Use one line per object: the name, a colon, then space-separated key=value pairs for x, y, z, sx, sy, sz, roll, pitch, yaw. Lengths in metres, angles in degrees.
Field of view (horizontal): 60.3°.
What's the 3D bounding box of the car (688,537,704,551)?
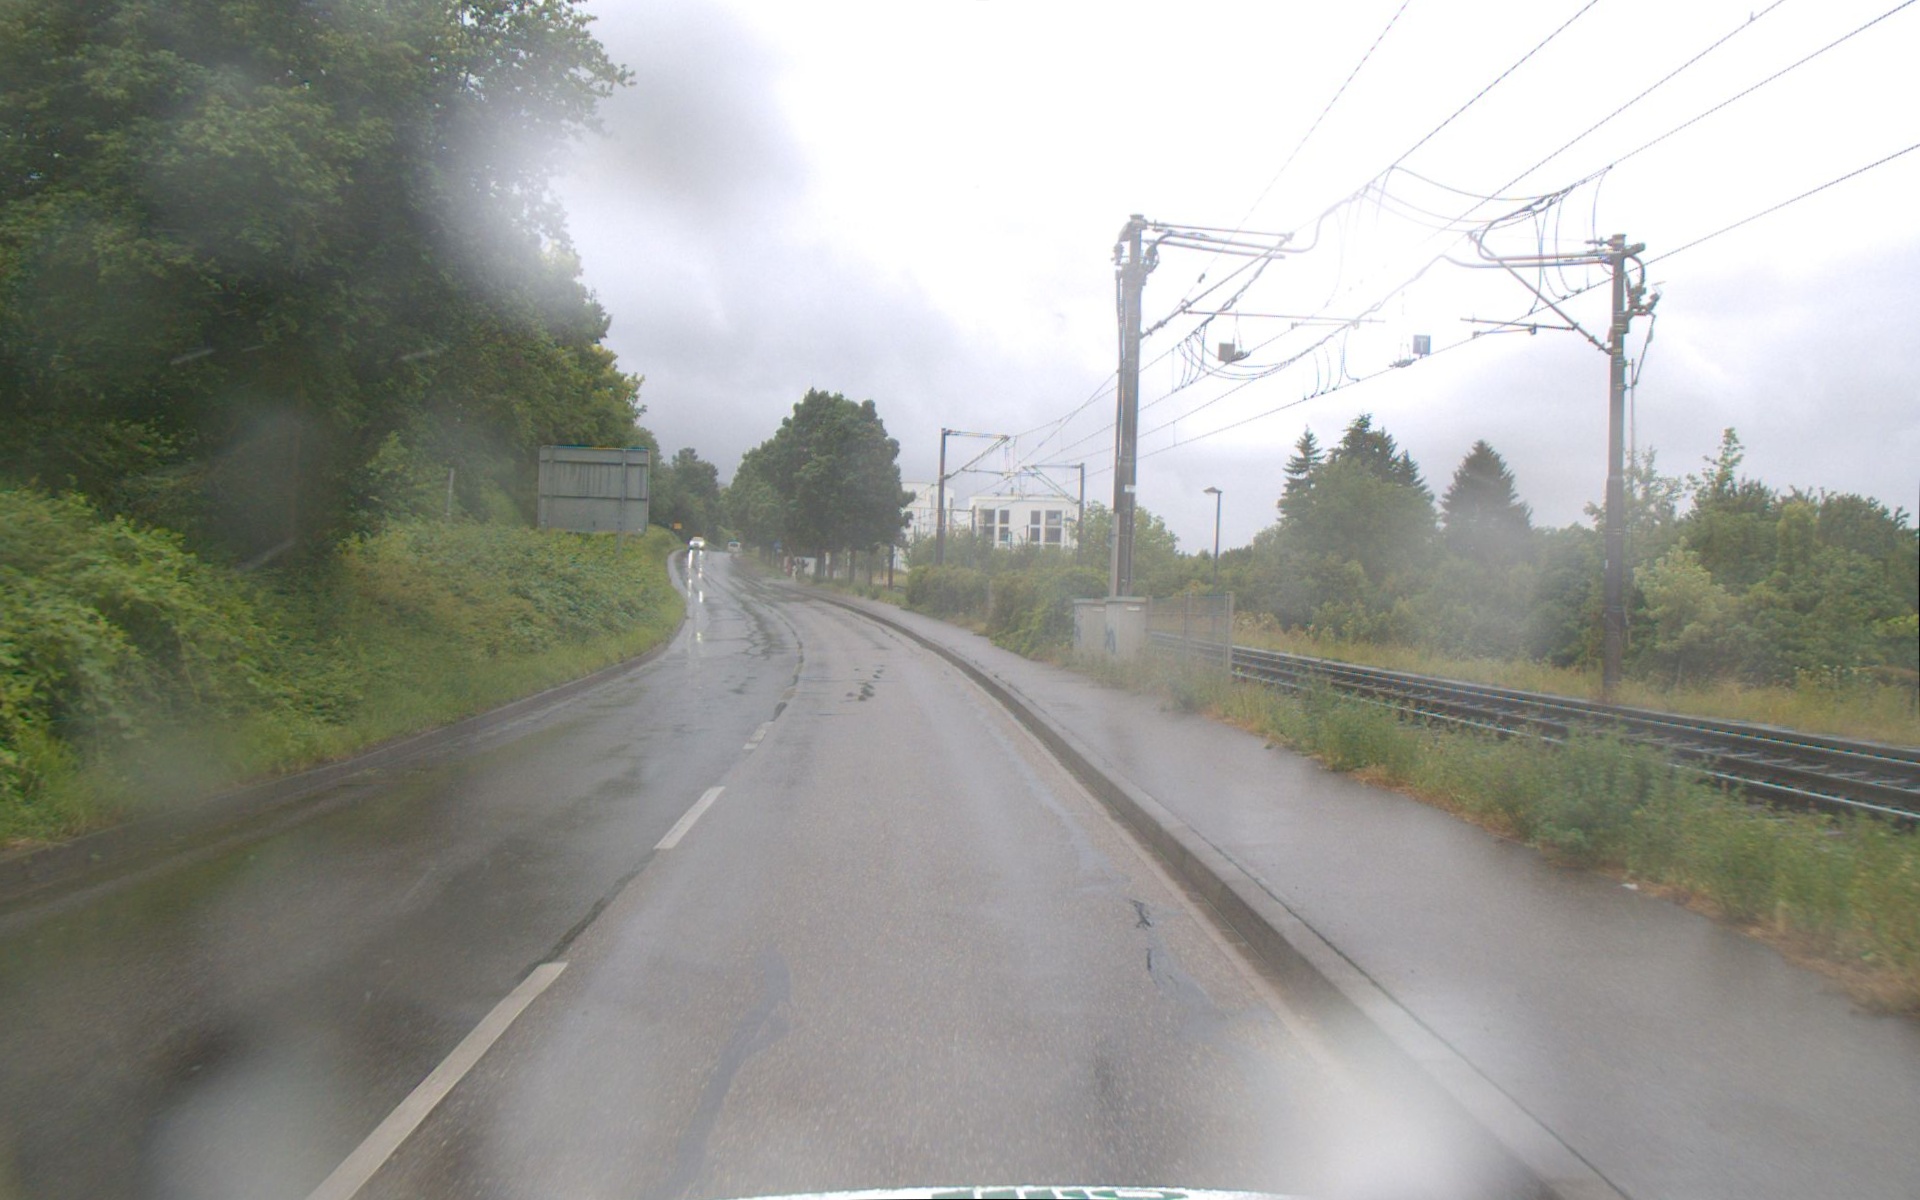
car: x=-34.090 y=-7.224 z=213.601 sx=1.711 sy=1.639 sz=4.083 roll=3 pitch=2 yaw=-6
